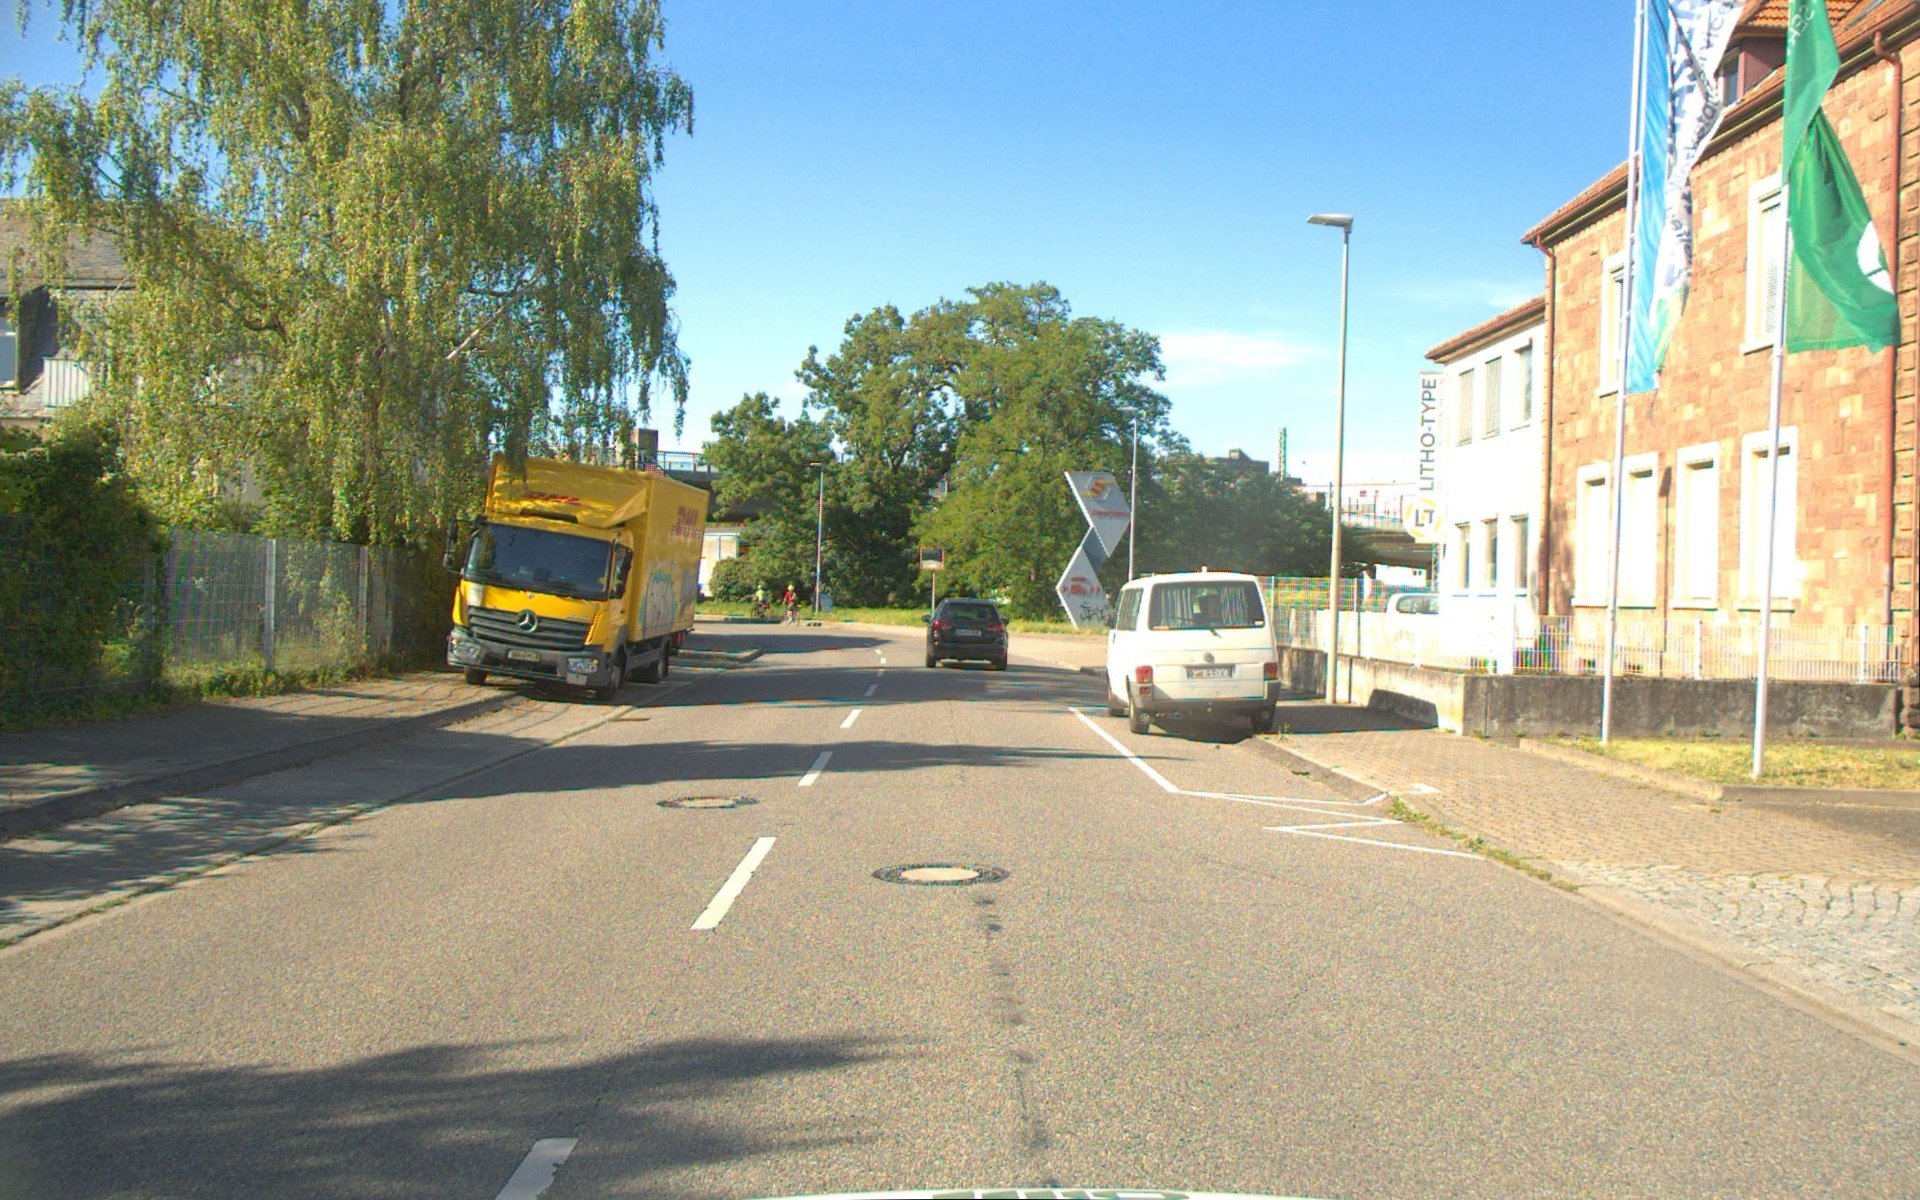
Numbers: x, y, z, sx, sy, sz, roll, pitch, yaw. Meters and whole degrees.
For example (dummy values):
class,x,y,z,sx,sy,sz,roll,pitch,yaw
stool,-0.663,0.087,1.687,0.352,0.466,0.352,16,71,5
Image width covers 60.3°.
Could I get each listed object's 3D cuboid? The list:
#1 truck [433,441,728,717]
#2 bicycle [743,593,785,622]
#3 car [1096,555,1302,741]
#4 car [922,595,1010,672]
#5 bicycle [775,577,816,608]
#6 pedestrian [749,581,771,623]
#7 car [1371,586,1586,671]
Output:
class,x,y,z,sx,sy,sz,roll,pitch,yaw
truck,-5.936,-0.389,27.553,2.579,3.564,8.656,7,1,-1
bicycle,-9.098,0.345,76.719,0.798,1.242,2.226,3,0,-40
car,2.963,0.567,21.586,1.836,2.049,5.160,3,0,0
car,0.126,0.677,36.131,1.809,1.557,4.000,1,0,0
bicycle,-7.323,-0.332,73.511,0.797,1.290,2.231,3,0,-35
pedestrian,-9.256,0.092,76.594,0.652,1.867,0.783,3,-1,-37
car,13.415,0.684,43.029,1.866,2.049,5.078,0,0,-43
